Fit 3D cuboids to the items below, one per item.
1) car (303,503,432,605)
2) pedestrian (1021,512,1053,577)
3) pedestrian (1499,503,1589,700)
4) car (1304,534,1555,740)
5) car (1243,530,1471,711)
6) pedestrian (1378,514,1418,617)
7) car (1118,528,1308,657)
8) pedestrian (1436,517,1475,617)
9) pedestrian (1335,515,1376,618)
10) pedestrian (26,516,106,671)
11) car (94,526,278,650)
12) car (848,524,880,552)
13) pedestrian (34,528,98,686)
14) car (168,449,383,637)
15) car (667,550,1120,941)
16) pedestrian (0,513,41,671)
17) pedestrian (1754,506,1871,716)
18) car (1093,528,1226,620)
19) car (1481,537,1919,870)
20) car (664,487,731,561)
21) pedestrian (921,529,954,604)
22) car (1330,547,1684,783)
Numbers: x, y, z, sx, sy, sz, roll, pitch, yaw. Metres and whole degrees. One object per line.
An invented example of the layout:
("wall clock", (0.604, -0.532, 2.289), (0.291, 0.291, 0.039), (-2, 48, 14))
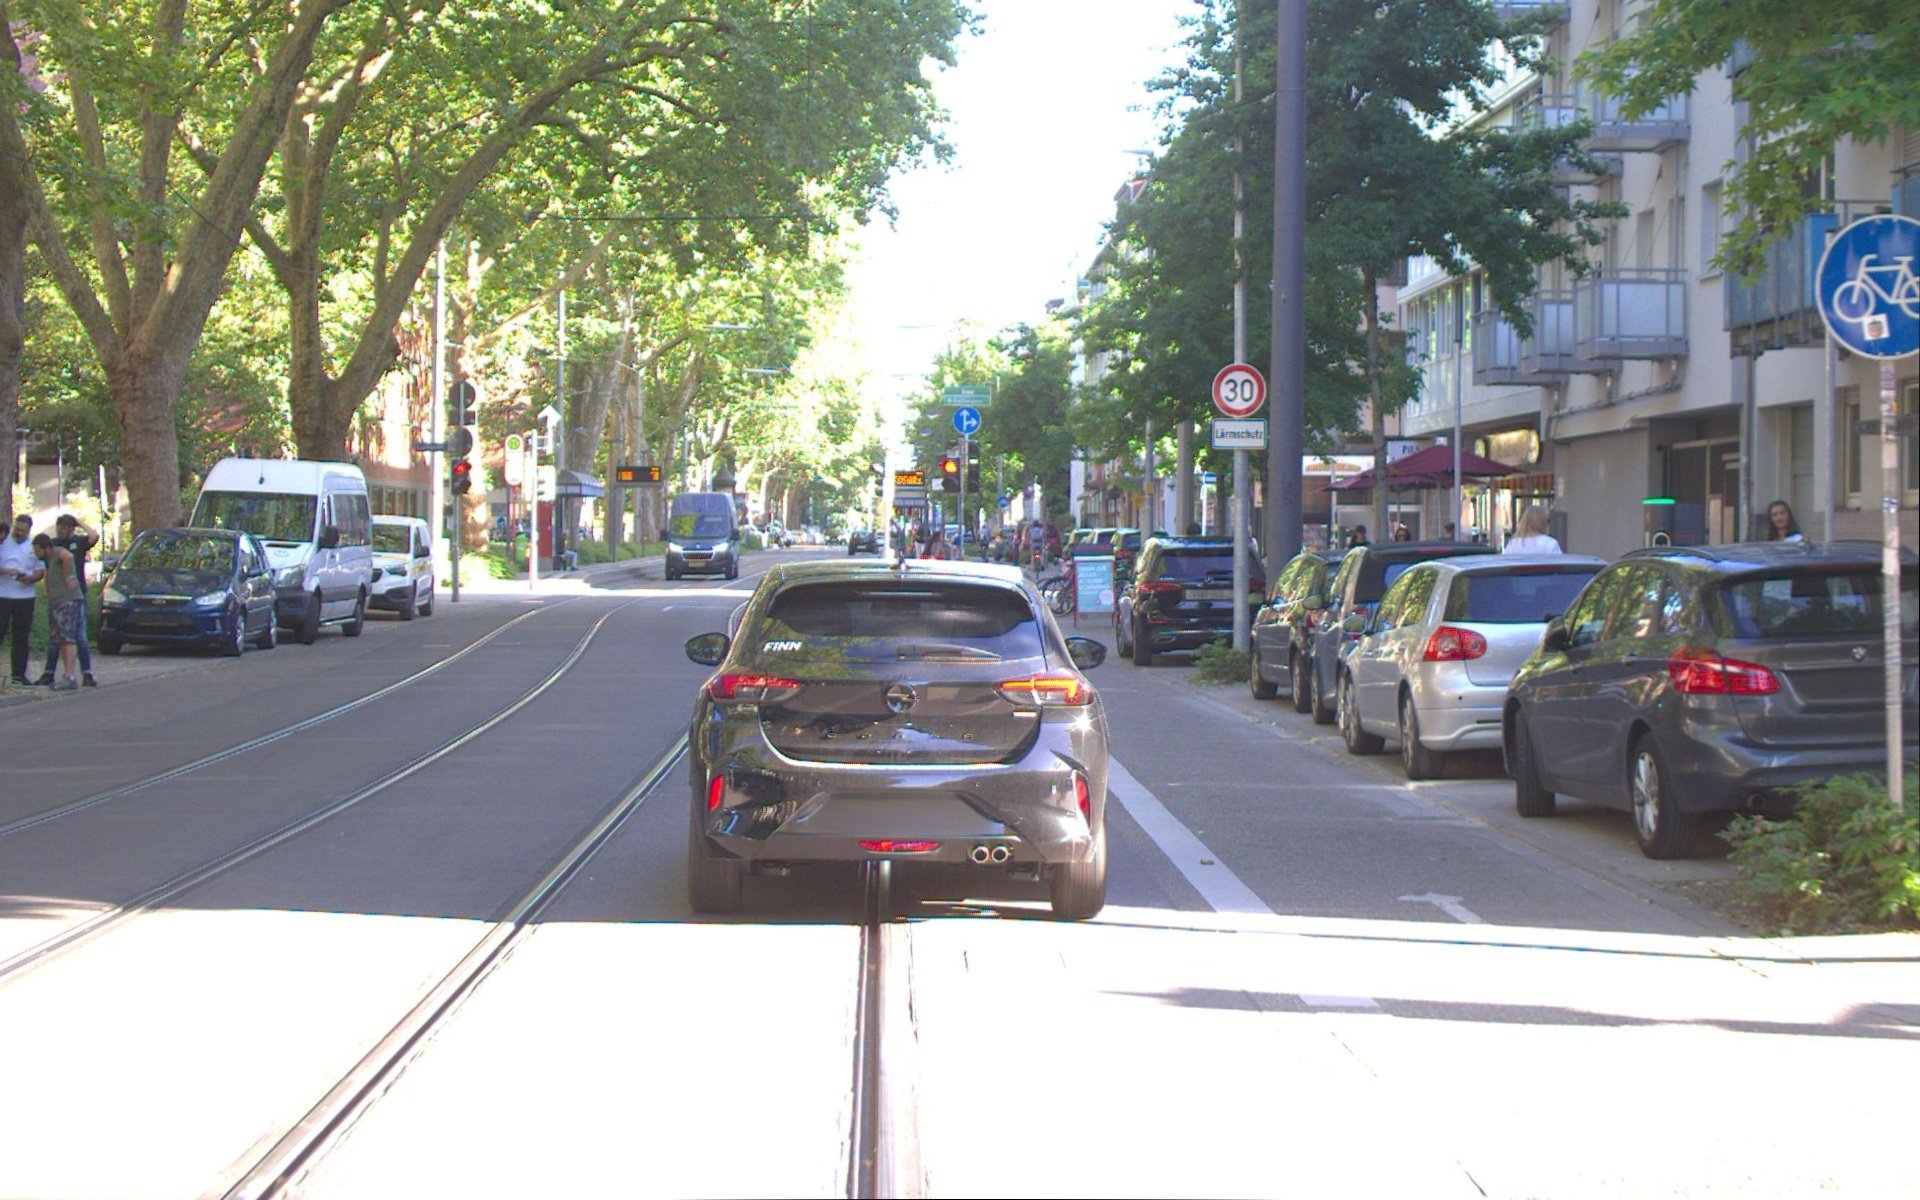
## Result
("car", (-10.363, -0.835, 60.352), (1.993, 1.711, 4.001), (0, 1, -7))
("pedestrian", (2.476, -1.783, 110.330), (0.856, 2.007, 1.070), (-4, 1, 0))
("pedestrian", (4.926, 0.006, 29.015), (0.600, 1.646, 0.631), (1, 1, -4))
("car", (3.794, 0.258, 28.213), (1.651, 1.568, 3.084), (1, 1, 1))
("car", (3.650, 0.146, 32.139), (1.718, 1.568, 3.682), (1, 1, 1))
("pedestrian", (7.421, -0.593, 58.259), (0.629, 1.726, 0.632), (1, 1, 4))
("car", (3.099, -0.126, 42.836), (1.993, 1.503, 4.000), (1, 1, -1))
("pedestrian", (8.663, -0.577, 60.098), (0.629, 1.726, 0.632), (1, 1, 5))
("pedestrian", (6.702, -0.572, 58.287), (0.629, 1.726, 0.632), (1, 1, 4))
("pedestrian", (-9.192, -0.069, 35.346), (0.683, 1.577, 0.557), (1, 1, -3))
("car", (-9.920, -0.190, 44.313), (1.754, 1.503, 4.001), (0, 1, -5))
("car", (-5.706, -3.688, 204.468), (1.750, 1.646, 4.000), (1, 1, 0))
("pedestrian", (-9.011, 0.066, 34.672), (0.506, 1.577, 0.527), (1, 1, -2))
("car", (-9.939, -0.862, 50.397), (2.092, 2.575, 5.997), (1, 1, -1))
("car", (-0.302, 0.532, 14.963), (1.679, 1.417, 3.628), (2, 1, -2))
("pedestrian", (-9.501, -0.088, 34.659), (0.346, 1.577, 0.508), (1, 1, -3))
("pedestrian", (7.207, 0.085, 29.087), (0.793, 1.742, 0.770), (1, 1, 1))
("car", (3.744, -0.502, 63.925), (1.994, 1.634, 3.998), (1, 1, 10))
("car", (4.151, 0.467, 18.528), (1.718, 1.568, 4.086), (1, 1, -5))
("car", (-8.168, -2.358, 106.574), (1.993, 2.204, 5.104), (0, 1, -5))
("pedestrian", (-0.485, -0.724, 74.048), (0.594, 1.584, 0.893), (0, 1, -8))
("car", (3.740, 0.395, 24.093), (1.718, 1.485, 3.682), (1, 1, -3))
